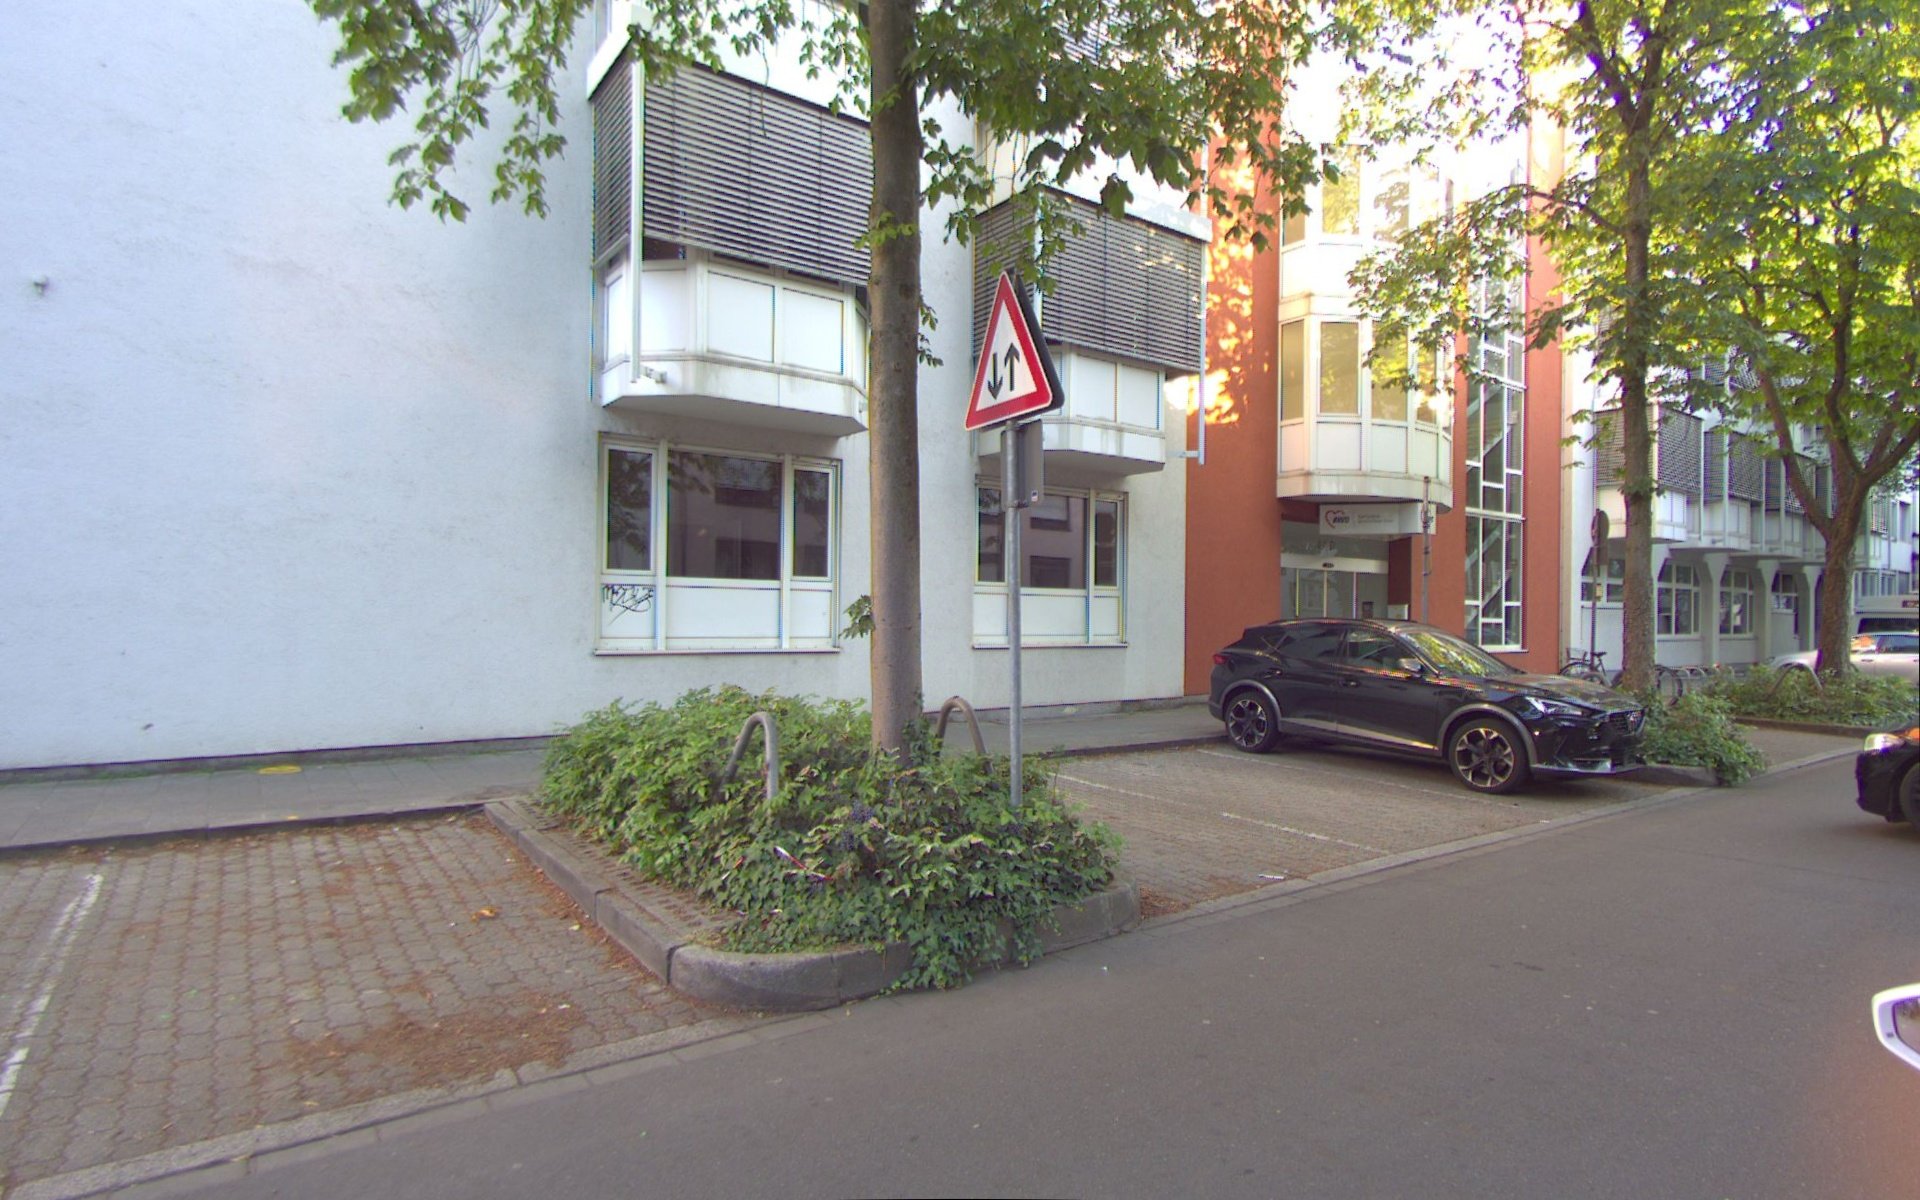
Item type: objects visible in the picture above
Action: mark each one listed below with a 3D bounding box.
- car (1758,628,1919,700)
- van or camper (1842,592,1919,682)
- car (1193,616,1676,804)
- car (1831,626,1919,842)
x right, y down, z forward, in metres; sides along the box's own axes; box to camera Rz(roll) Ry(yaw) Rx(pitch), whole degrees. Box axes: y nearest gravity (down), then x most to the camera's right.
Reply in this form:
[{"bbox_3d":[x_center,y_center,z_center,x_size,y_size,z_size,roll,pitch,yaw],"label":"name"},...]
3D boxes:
[{"bbox_3d":[21.162,1.450,23.232,1.767,1.537,3.942,1,-1,-35],"label":"car"},{"bbox_3d":[27.903,1.037,28.032,1.981,2.511,4.632,1,-1,-36],"label":"van or camper"},{"bbox_3d":[4.716,0.958,10.608,1.768,1.537,4.325,1,-1,-35],"label":"car"},{"bbox_3d":[8.195,0.933,5.640,1.774,1.499,4.736,1,-1,-22],"label":"car"}]
